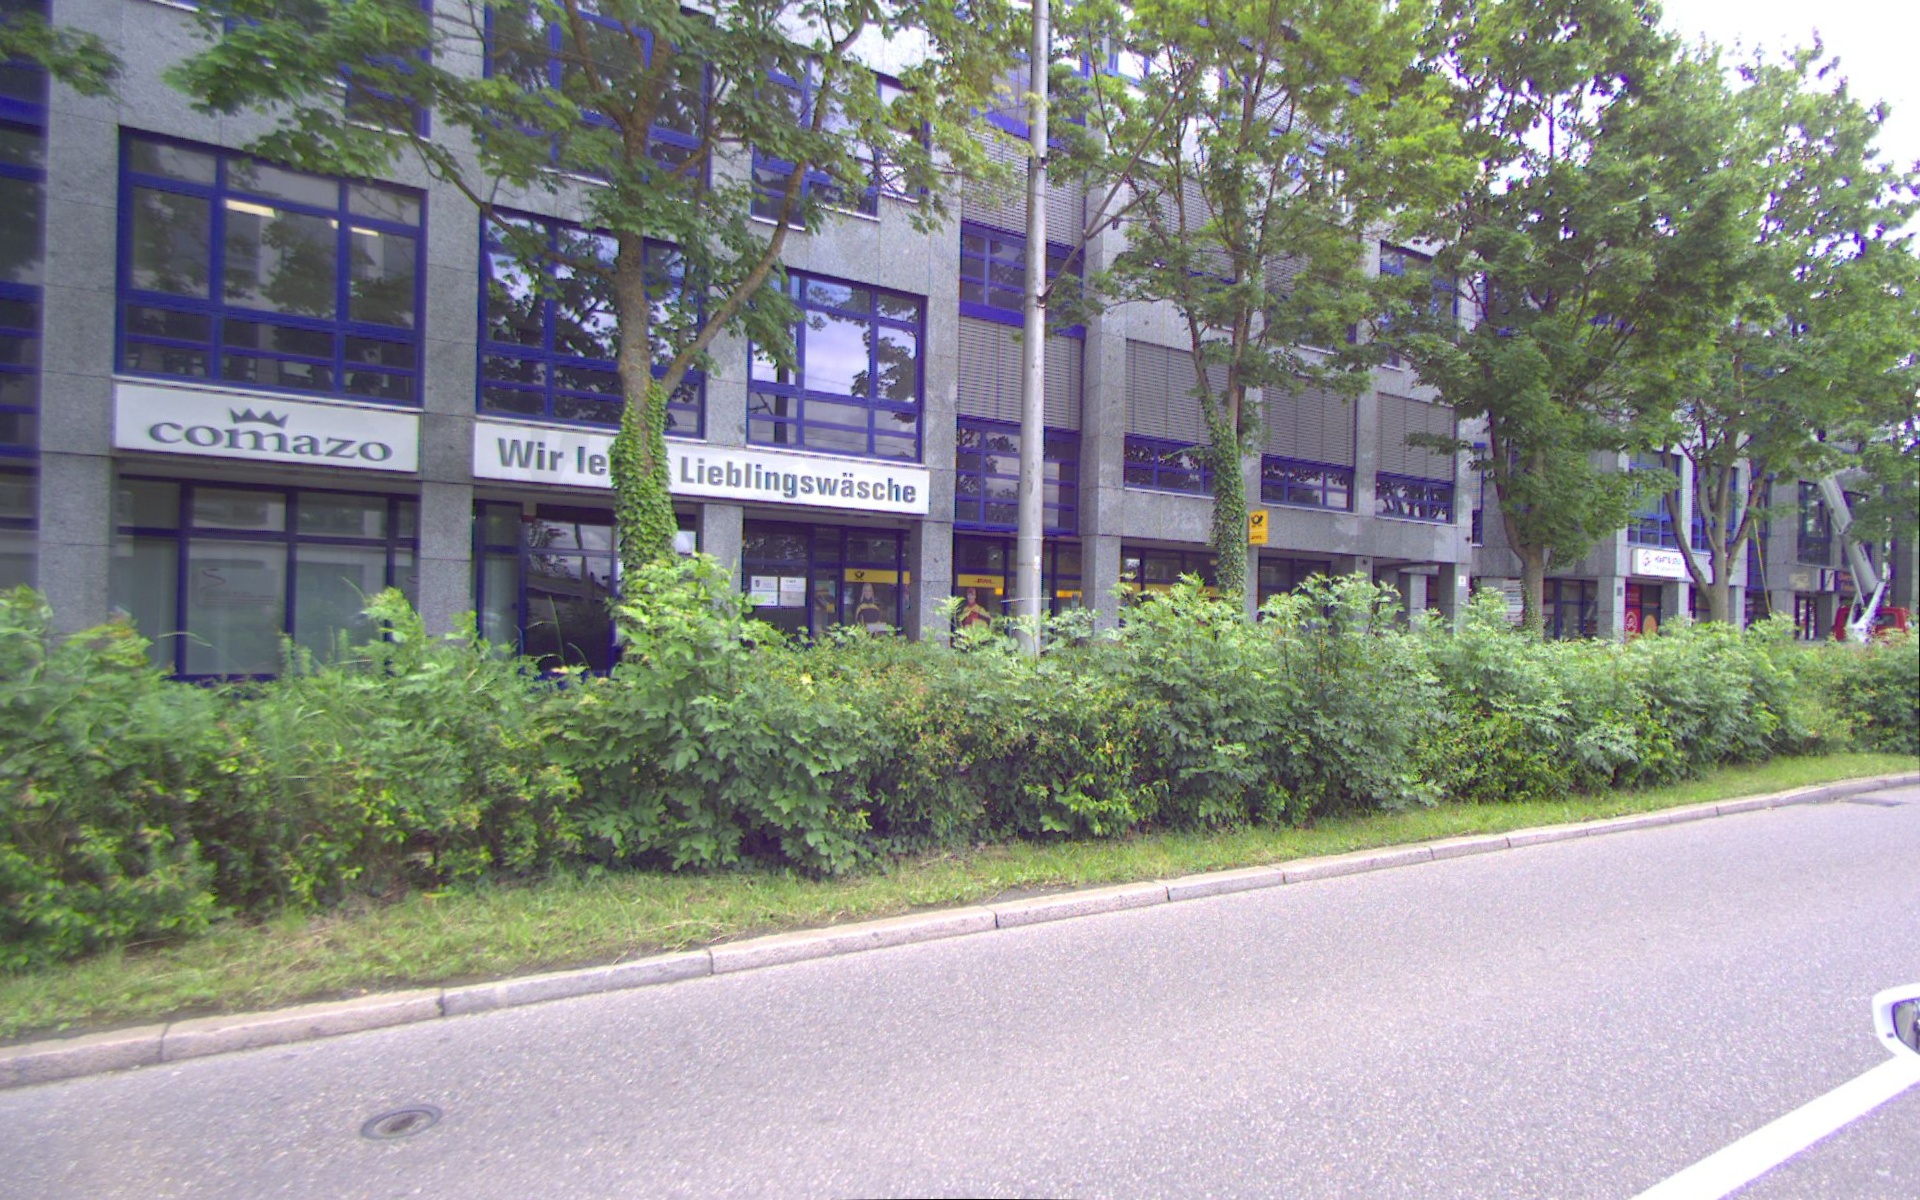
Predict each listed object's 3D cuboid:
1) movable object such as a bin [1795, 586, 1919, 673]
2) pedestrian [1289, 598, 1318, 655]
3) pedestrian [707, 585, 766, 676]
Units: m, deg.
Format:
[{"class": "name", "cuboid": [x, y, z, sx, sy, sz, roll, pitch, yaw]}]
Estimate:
[{"class": "movable object such as a bin", "cuboid": [28.715, 0.928, 32.027, 4.080, 2.565, 1.895, 2, 1, -31]}, {"class": "pedestrian", "cuboid": [8.352, 0.652, 24.423, 0.552, 1.352, 0.362, 1, 3, -35]}, {"class": "pedestrian", "cuboid": [-3.826, 0.511, 17.181, 0.690, 1.502, 0.675, 3, 1, 44]}]
